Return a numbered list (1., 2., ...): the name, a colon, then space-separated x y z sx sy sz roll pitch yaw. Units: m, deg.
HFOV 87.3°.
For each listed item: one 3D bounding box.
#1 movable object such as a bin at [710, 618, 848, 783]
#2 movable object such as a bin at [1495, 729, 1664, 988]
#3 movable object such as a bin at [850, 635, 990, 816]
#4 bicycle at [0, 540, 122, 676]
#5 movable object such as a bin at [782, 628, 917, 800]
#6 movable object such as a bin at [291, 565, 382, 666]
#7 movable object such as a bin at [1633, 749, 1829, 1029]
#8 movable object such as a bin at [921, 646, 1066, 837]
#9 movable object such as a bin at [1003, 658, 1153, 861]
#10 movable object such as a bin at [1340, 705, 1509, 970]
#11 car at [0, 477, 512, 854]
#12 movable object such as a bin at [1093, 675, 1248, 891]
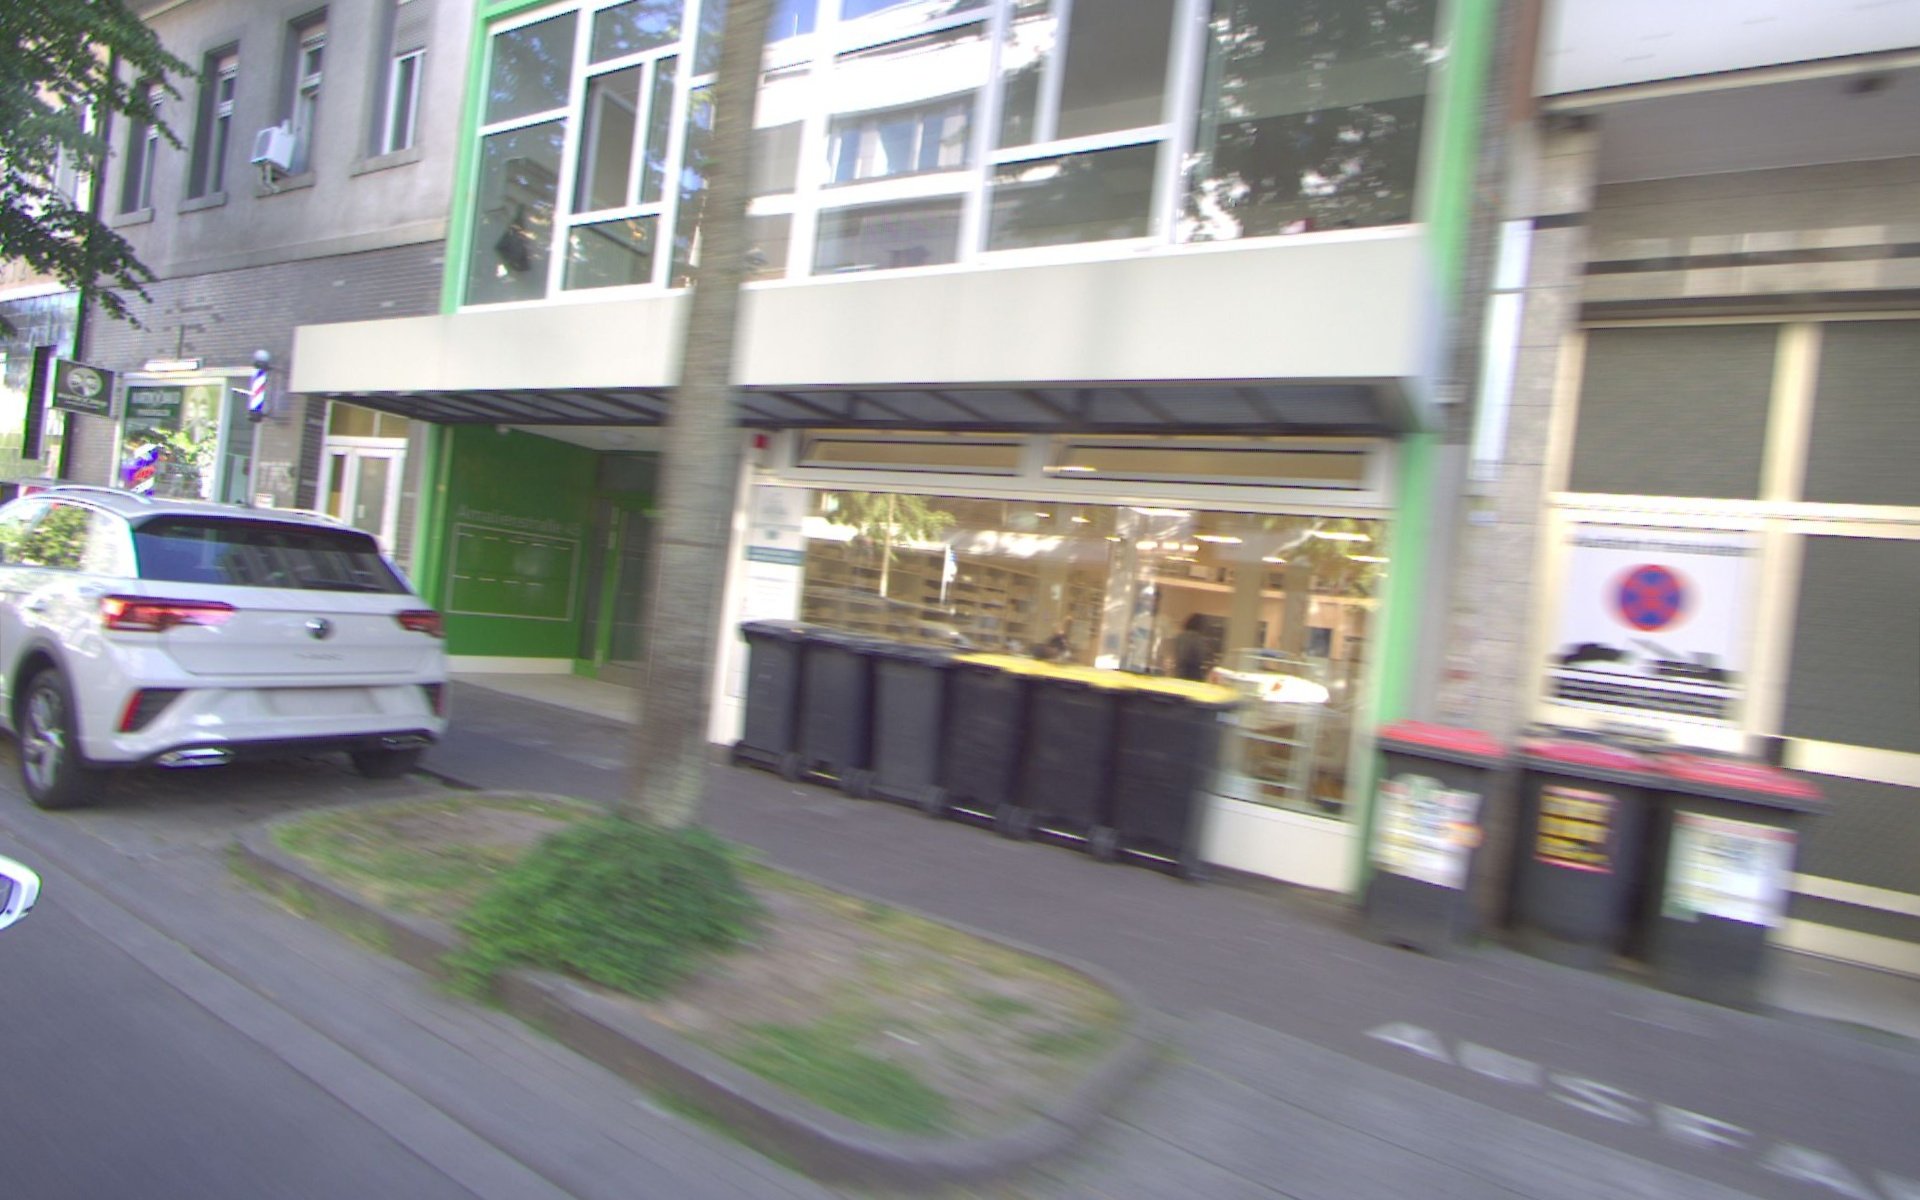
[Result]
1. movable object such as a bin: -1.321 0.721 7.384 0.644 1.077 0.614 7 1 33
2. movable object such as a bin: 3.033 1.224 4.945 0.564 1.077 0.499 7 1 33
3. movable object such as a bin: -0.260 0.817 6.742 0.580 1.077 0.614 7 1 32
4. bicycle: -7.741 0.055 7.932 0.601 1.027 1.622 7 4 29
5. movable object such as a bin: -0.768 0.777 7.053 0.580 1.077 0.614 7 1 32
6. movable object such as a bin: -6.618 0.168 10.682 0.644 0.968 0.523 7 1 33
7. movable object such as a bin: 3.515 1.281 4.634 0.564 1.077 0.499 7 1 33
8. movable object such as a bin: 0.219 0.874 6.424 0.580 1.077 0.614 7 1 32
9. movable object such as a bin: 0.724 0.931 6.092 0.580 1.077 0.614 7 1 32
10. movable object such as a bin: 2.298 1.116 4.954 0.564 1.108 0.626 7 1 32
11. car: -4.917 0.135 6.122 4.163 1.547 1.884 7 2 31
12. movable object such as a bin: 1.214 1.007 5.765 0.580 1.077 0.611 7 1 32
